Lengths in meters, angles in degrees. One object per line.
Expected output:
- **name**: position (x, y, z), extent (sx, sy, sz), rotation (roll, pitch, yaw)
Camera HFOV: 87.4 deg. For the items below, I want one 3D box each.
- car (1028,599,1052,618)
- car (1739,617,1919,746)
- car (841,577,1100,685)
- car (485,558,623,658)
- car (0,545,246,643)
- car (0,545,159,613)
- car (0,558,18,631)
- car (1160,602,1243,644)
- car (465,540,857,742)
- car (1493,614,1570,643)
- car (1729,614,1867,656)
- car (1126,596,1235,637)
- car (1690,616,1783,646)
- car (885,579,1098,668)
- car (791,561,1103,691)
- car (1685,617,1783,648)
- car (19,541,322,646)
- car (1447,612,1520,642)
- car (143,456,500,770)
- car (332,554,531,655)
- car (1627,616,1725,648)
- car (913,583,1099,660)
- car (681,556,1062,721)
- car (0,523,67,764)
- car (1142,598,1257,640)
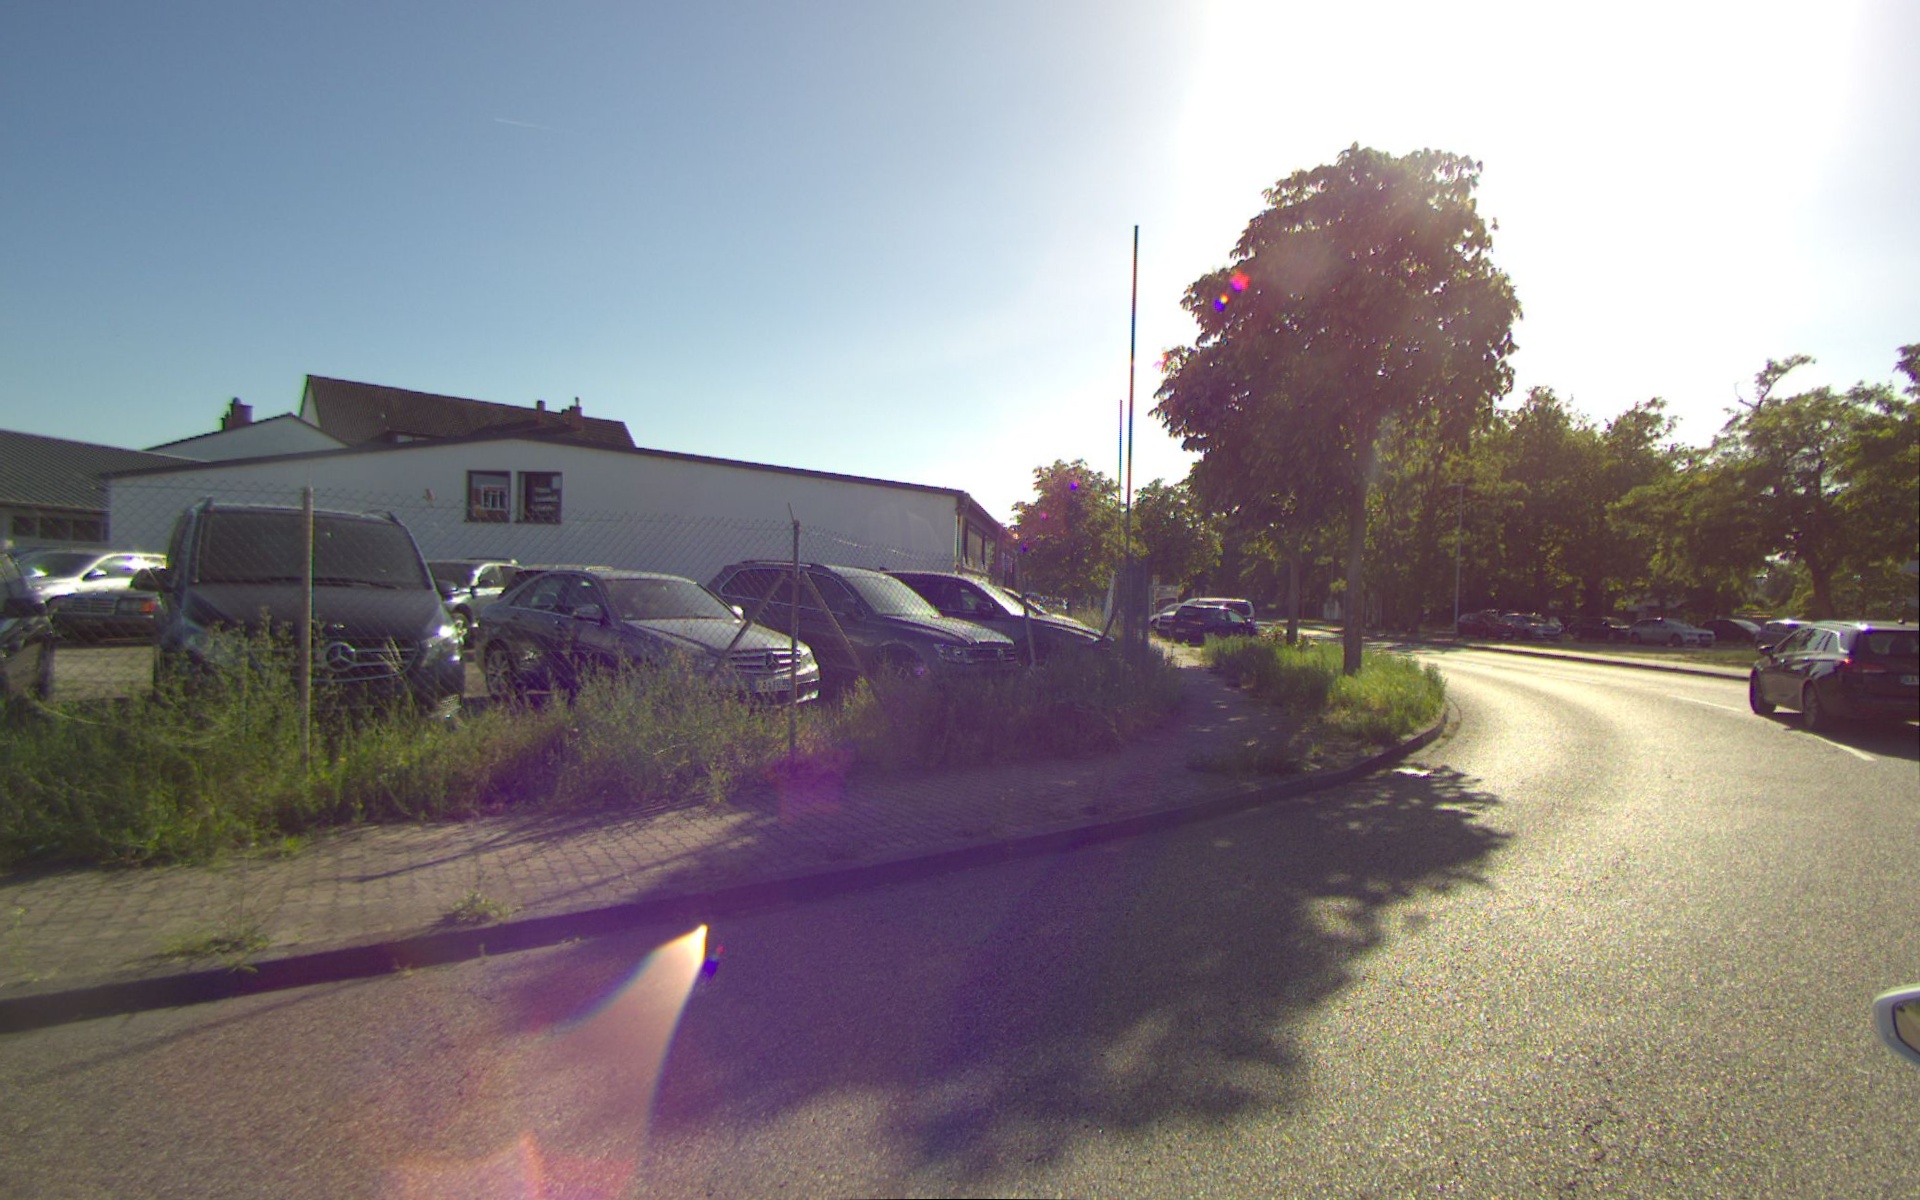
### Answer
- **car**: position (6.469, 0.644, 81.217), extent (1.803, 1.456, 4.405), rotation (2, 0, 4)
- **car**: position (12.758, 1.029, 14.145), extent (1.912, 1.508, 4.560), rotation (0, 0, 26)
- **car**: position (0.260, 0.509, 17.825), extent (4.314, 1.671, 1.841), rotation (2, 0, 10)
- **car**: position (-7.623, 0.120, 19.265), extent (1.809, 1.670, 4.391), rotation (1, 0, -14)
- **car**: position (-16.527, -0.129, 19.501), extent (1.803, 1.670, 4.406), rotation (2, 0, 7)
- **car**: position (-24.296, -0.547, 26.910), extent (1.803, 1.670, 4.406), rotation (2, 0, 7)
- **car**: position (-21.988, -0.151, 20.111), extent (1.803, 1.583, 4.406), rotation (2, 0, 7)
- **car**: position (9.193, 0.838, 37.939), extent (1.808, 1.456, 4.395), rotation (2, 0, 31)
- **car**: position (-3.245, 0.301, 10.431), extent (4.338, 1.671, 1.831), rotation (2, 1, 40)
- **car**: position (33.162, 1.627, 58.500), extent (1.960, 1.504, 4.928), rotation (2, 0, 5)
- **car**: position (35.272, 1.421, 42.492), extent (1.960, 1.504, 4.928), rotation (2, 0, 5)
- **car**: position (9.549, 0.718, 43.563), extent (4.340, 1.631, 1.831), rotation (1, 0, -22)
- **car**: position (45.985, 1.805, 59.621), extent (1.960, 1.504, 4.928), rotation (2, 0, 5)
- **car**: position (0.733, 0.459, 21.367), extent (4.314, 1.671, 1.841), rotation (2, 0, 8)
- **car**: position (-0.103, 0.335, 14.876), extent (4.314, 1.671, 1.841), rotation (2, 0, 10)
- **car**: position (43.437, 1.782, 56.555), extent (1.960, 1.504, 4.928), rotation (2, 0, 5)
- **car**: position (-14.407, -0.113, 18.724), extent (1.803, 1.670, 4.406), rotation (2, 0, 7)
- **car**: position (30.286, 1.518, 58.267), extent (1.960, 1.504, 4.928), rotation (2, 0, 5)
- **car**: position (-5.649, 0.042, 8.552), extent (1.826, 1.918, 4.792), rotation (1, 1, -41)
- **car**: position (-9.932, 0.065, 19.303), extent (1.806, 1.670, 4.400), rotation (2, 0, -5)
- **car**: position (37.874, 1.657, 53.308), extent (1.960, 1.504, 4.928), rotation (2, 0, 5)
- **car**: position (1.161, 0.495, 24.343), extent (4.314, 1.671, 1.841), rotation (2, 0, 8)
- **car**: position (-1.130, 0.353, 12.177), extent (4.325, 1.671, 1.837), rotation (2, 1, 30)
- **car**: position (-7.713, 0.203, 7.274), extent (1.827, 1.456, 4.349), rotation (1, 1, -42)
- **car**: position (9.857, 0.783, 41.331), extent (4.341, 1.631, 1.830), rotation (1, 0, -23)
